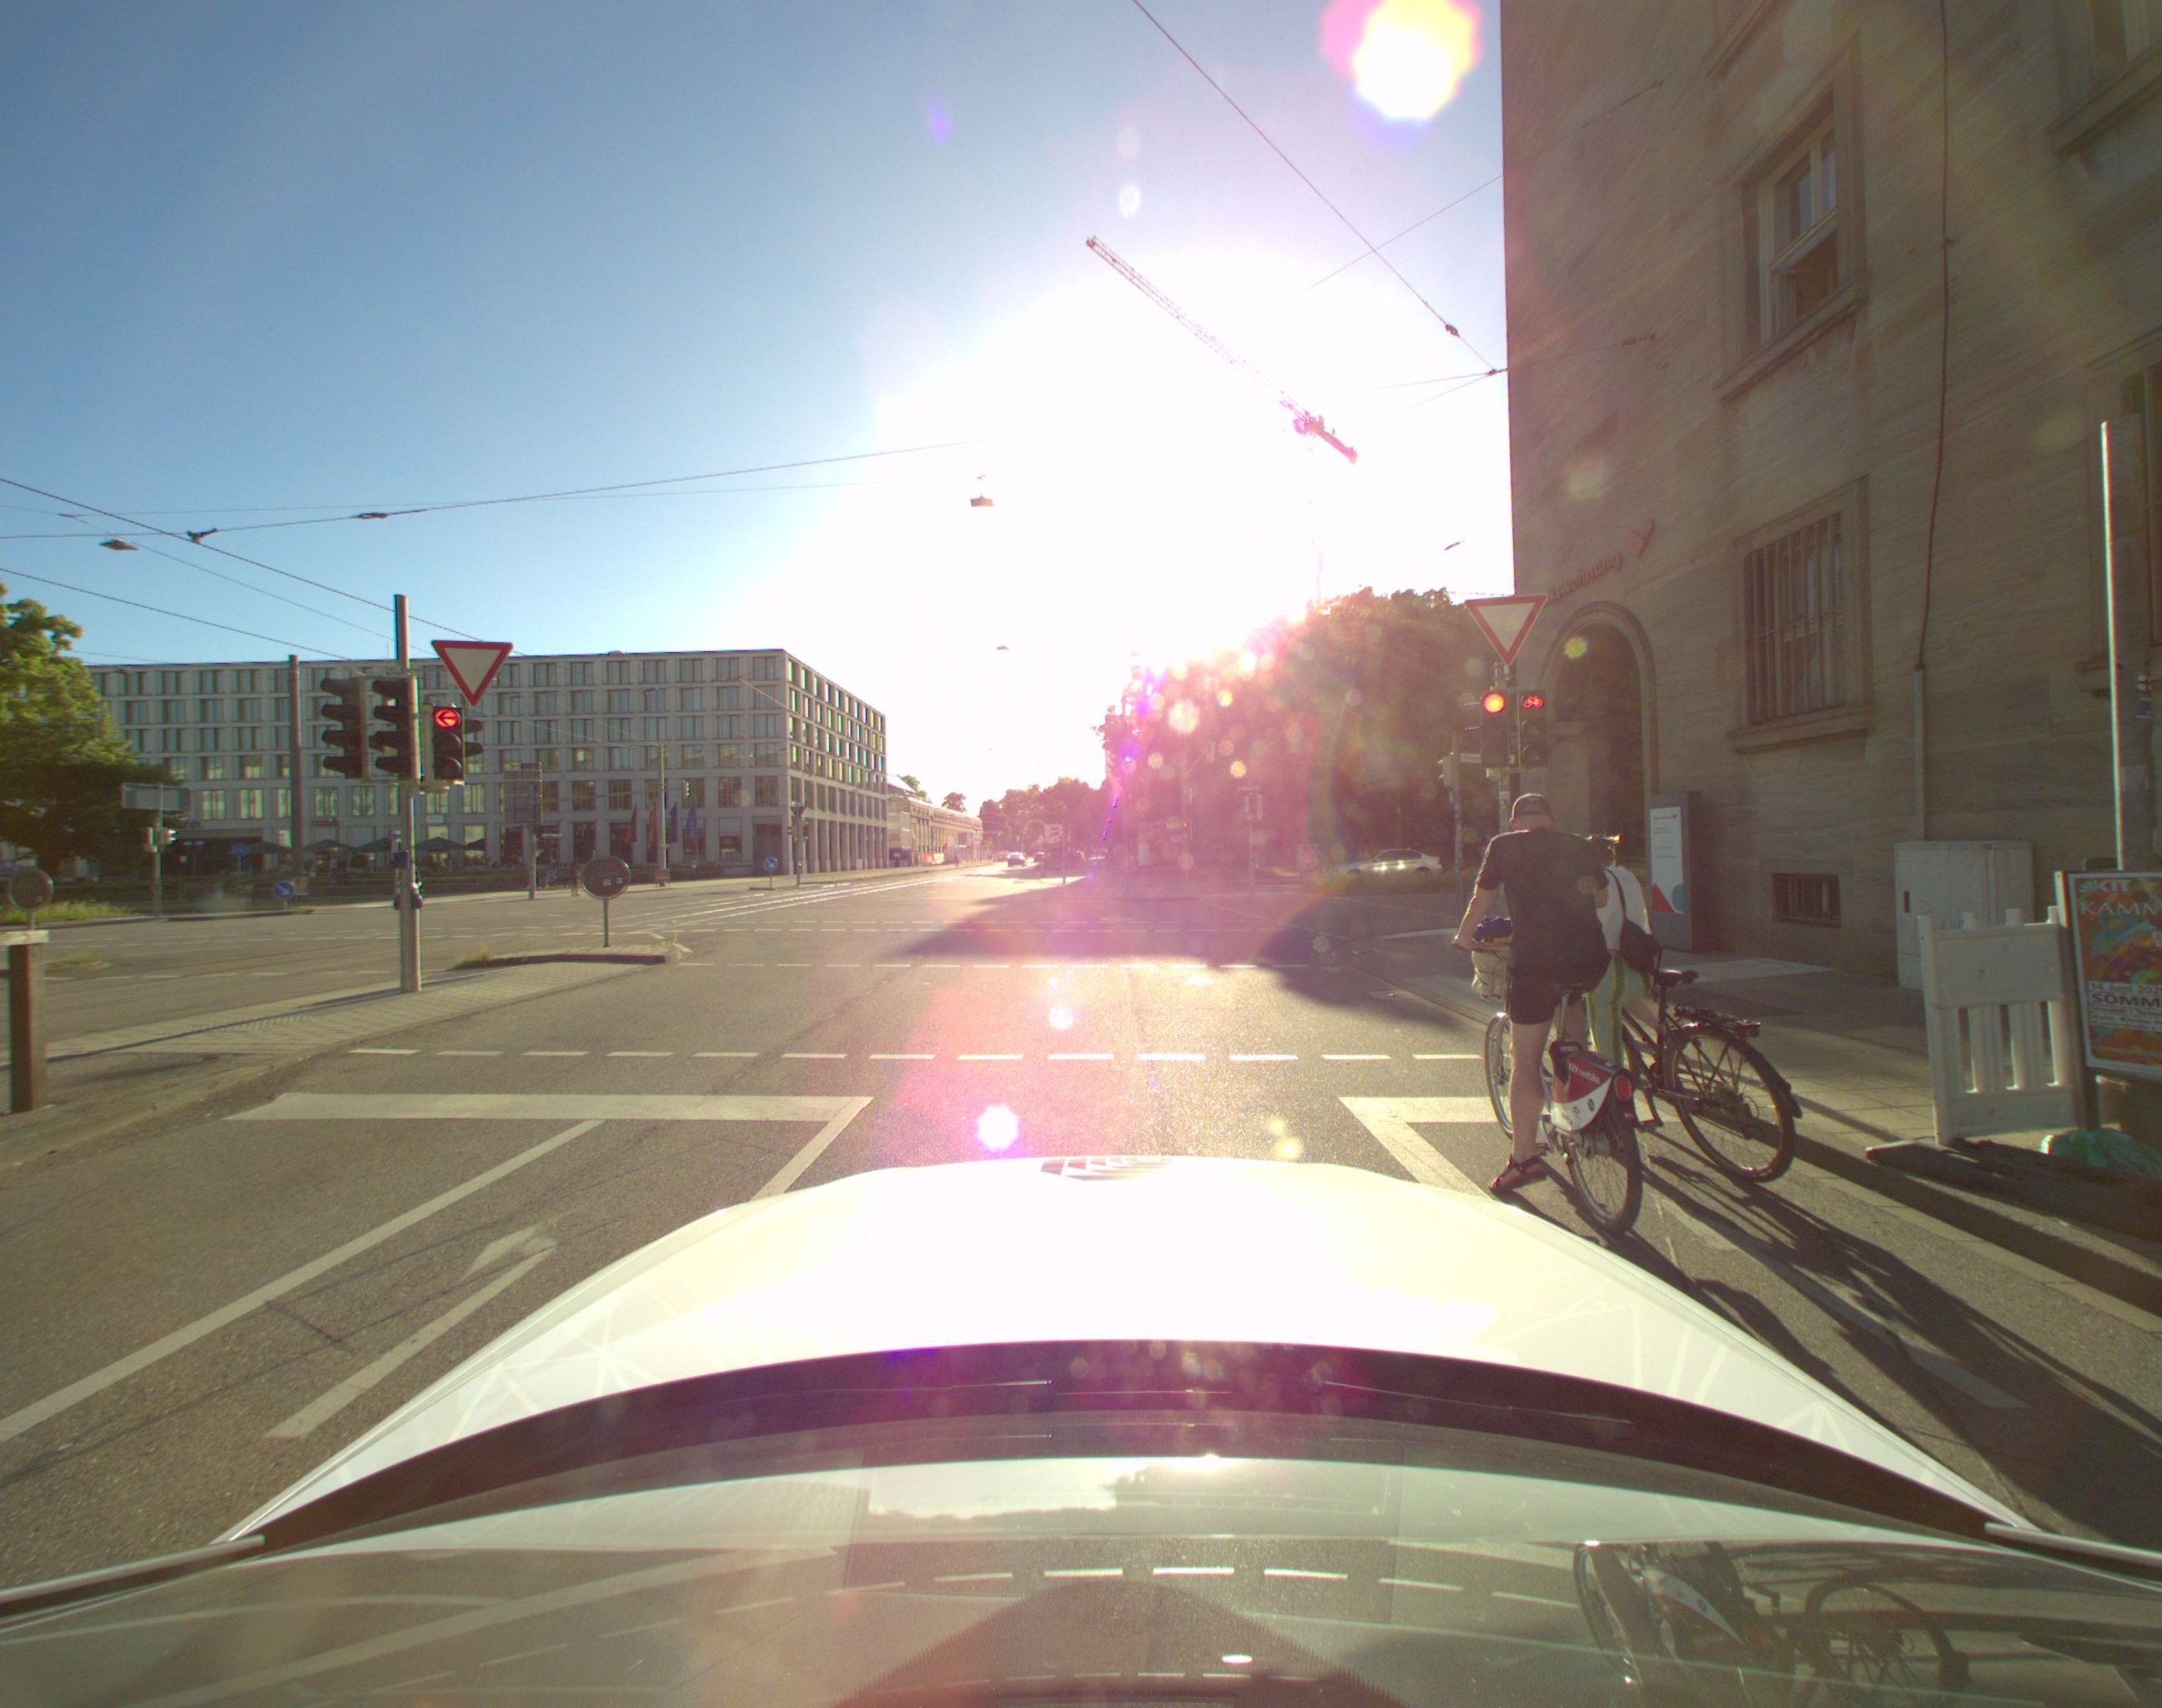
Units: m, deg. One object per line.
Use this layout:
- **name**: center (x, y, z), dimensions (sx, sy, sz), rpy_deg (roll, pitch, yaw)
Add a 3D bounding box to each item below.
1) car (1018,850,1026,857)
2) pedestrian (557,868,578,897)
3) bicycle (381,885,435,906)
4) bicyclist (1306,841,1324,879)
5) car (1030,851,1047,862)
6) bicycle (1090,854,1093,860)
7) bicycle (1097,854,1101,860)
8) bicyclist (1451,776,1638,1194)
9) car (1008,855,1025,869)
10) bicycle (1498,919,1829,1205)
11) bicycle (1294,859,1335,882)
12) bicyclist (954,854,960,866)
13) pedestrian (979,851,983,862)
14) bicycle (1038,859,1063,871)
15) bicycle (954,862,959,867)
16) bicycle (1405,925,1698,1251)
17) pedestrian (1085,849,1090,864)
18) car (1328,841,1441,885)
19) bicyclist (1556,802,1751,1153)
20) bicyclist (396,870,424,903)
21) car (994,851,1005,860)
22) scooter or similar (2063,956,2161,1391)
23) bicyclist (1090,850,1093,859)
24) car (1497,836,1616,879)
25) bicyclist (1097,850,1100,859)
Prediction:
- **car**: center (-14.240, -0.127, 195.338), dimensions (1.688, 1.718, 4.245), rpy_deg (0, -1, -1)
- **pedestrian**: center (-28.683, 1.588, 45.488), dimensions (0.776, 1.589, 0.588), rpy_deg (-2, 0, -12)
- **bicycle**: center (-32.684, 2.016, 39.583), dimensions (0.753, 0.935, 1.874), rpy_deg (-2, 0, 25)
- **bicyclist**: center (10.349, 0.262, 35.990), dimensions (0.640, 1.683, 0.508), rpy_deg (-2, 0, 7)
- **car**: center (-6.440, 0.378, 124.355), dimensions (1.883, 1.565, 4.814), rpy_deg (1, 0, 5)
- **bicycle**: center (1.918, 0.473, 147.417), dimensions (0.573, 1.077, 1.831), rpy_deg (-2, 0, 1)
- **bicycle**: center (3.235, 0.464, 147.495), dimensions (0.573, 1.077, 1.831), rpy_deg (-2, 0, 1)
- **bicyclist**: center (2.129, 0.565, 3.796), dimensions (0.556, 1.799, 0.551), rpy_deg (-1, 0, 3)
- **car**: center (-7.187, 0.863, 90.463), dimensions (1.656, 1.455, 4.428), rpy_deg (-1, 0, -2)
- **bicycle**: center (2.948, 0.962, 4.370), dimensions (0.532, 1.077, 1.751), rpy_deg (-1, 0, 1)
- **bicycle**: center (10.314, 0.741, 35.984), dimensions (1.657, 0.963, 0.535), rpy_deg (-2, 0, 7)
- **bicyclist**: center (-15.195, 0.721, 99.543), dimensions (0.594, 1.377, 0.637), rpy_deg (0, -1, 0)
- **pedestrian**: center (-18.576, 0.435, 151.719), dimensions (0.672, 2.014, 0.751), rpy_deg (0, -1, -1)
- **bicycle**: center (-2.568, 0.906, 67.721), dimensions (1.996, 0.891, 0.655), rpy_deg (-4, -1, 29)
- **bicycle**: center (-15.211, 1.292, 99.539), dimensions (0.499, 0.515, 1.258), rpy_deg (0, -1, 1)
- **bicycle**: center (2.127, 0.962, 3.954), dimensions (0.513, 1.077, 1.729), rpy_deg (-1, 0, 4)
- **pedestrian**: center (0.763, 0.276, 97.866), dimensions (0.462, 1.813, 0.502), rpy_deg (-2, 0, -3)
- **car**: center (12.351, 0.355, 33.273), dimensions (3.979, 1.611, 1.650), rpy_deg (-2, 0, 1)
- **bicyclist**: center (2.959, 0.596, 4.263), dimensions (0.556, 1.691, 0.640), rpy_deg (-1, 0, 0)
- **bicyclist**: center (-32.661, 1.567, 39.642), dimensions (0.752, 1.589, 0.782), rpy_deg (-2, -1, 25)
- **car**: center (-15.668, 0.258, 157.088), dimensions (1.688, 1.718, 4.245), rpy_deg (0, -1, -1)
- **scooter or similar**: center (3.275, 0.906, 1.823), dimensions (0.533, 1.185, 1.328), rpy_deg (-2, 0, 1)
- **bicyclist**: center (1.904, 0.071, 147.449), dimensions (0.567, 1.691, 0.700), rpy_deg (-2, 0, 1)
- **car**: center (19.218, 0.133, 32.996), dimensions (3.835, 1.611, 1.650), rpy_deg (-2, 0, 1)
- **bicyclist**: center (3.213, 0.051, 147.527), dimensions (0.567, 1.691, 0.700), rpy_deg (-2, 0, 1)
